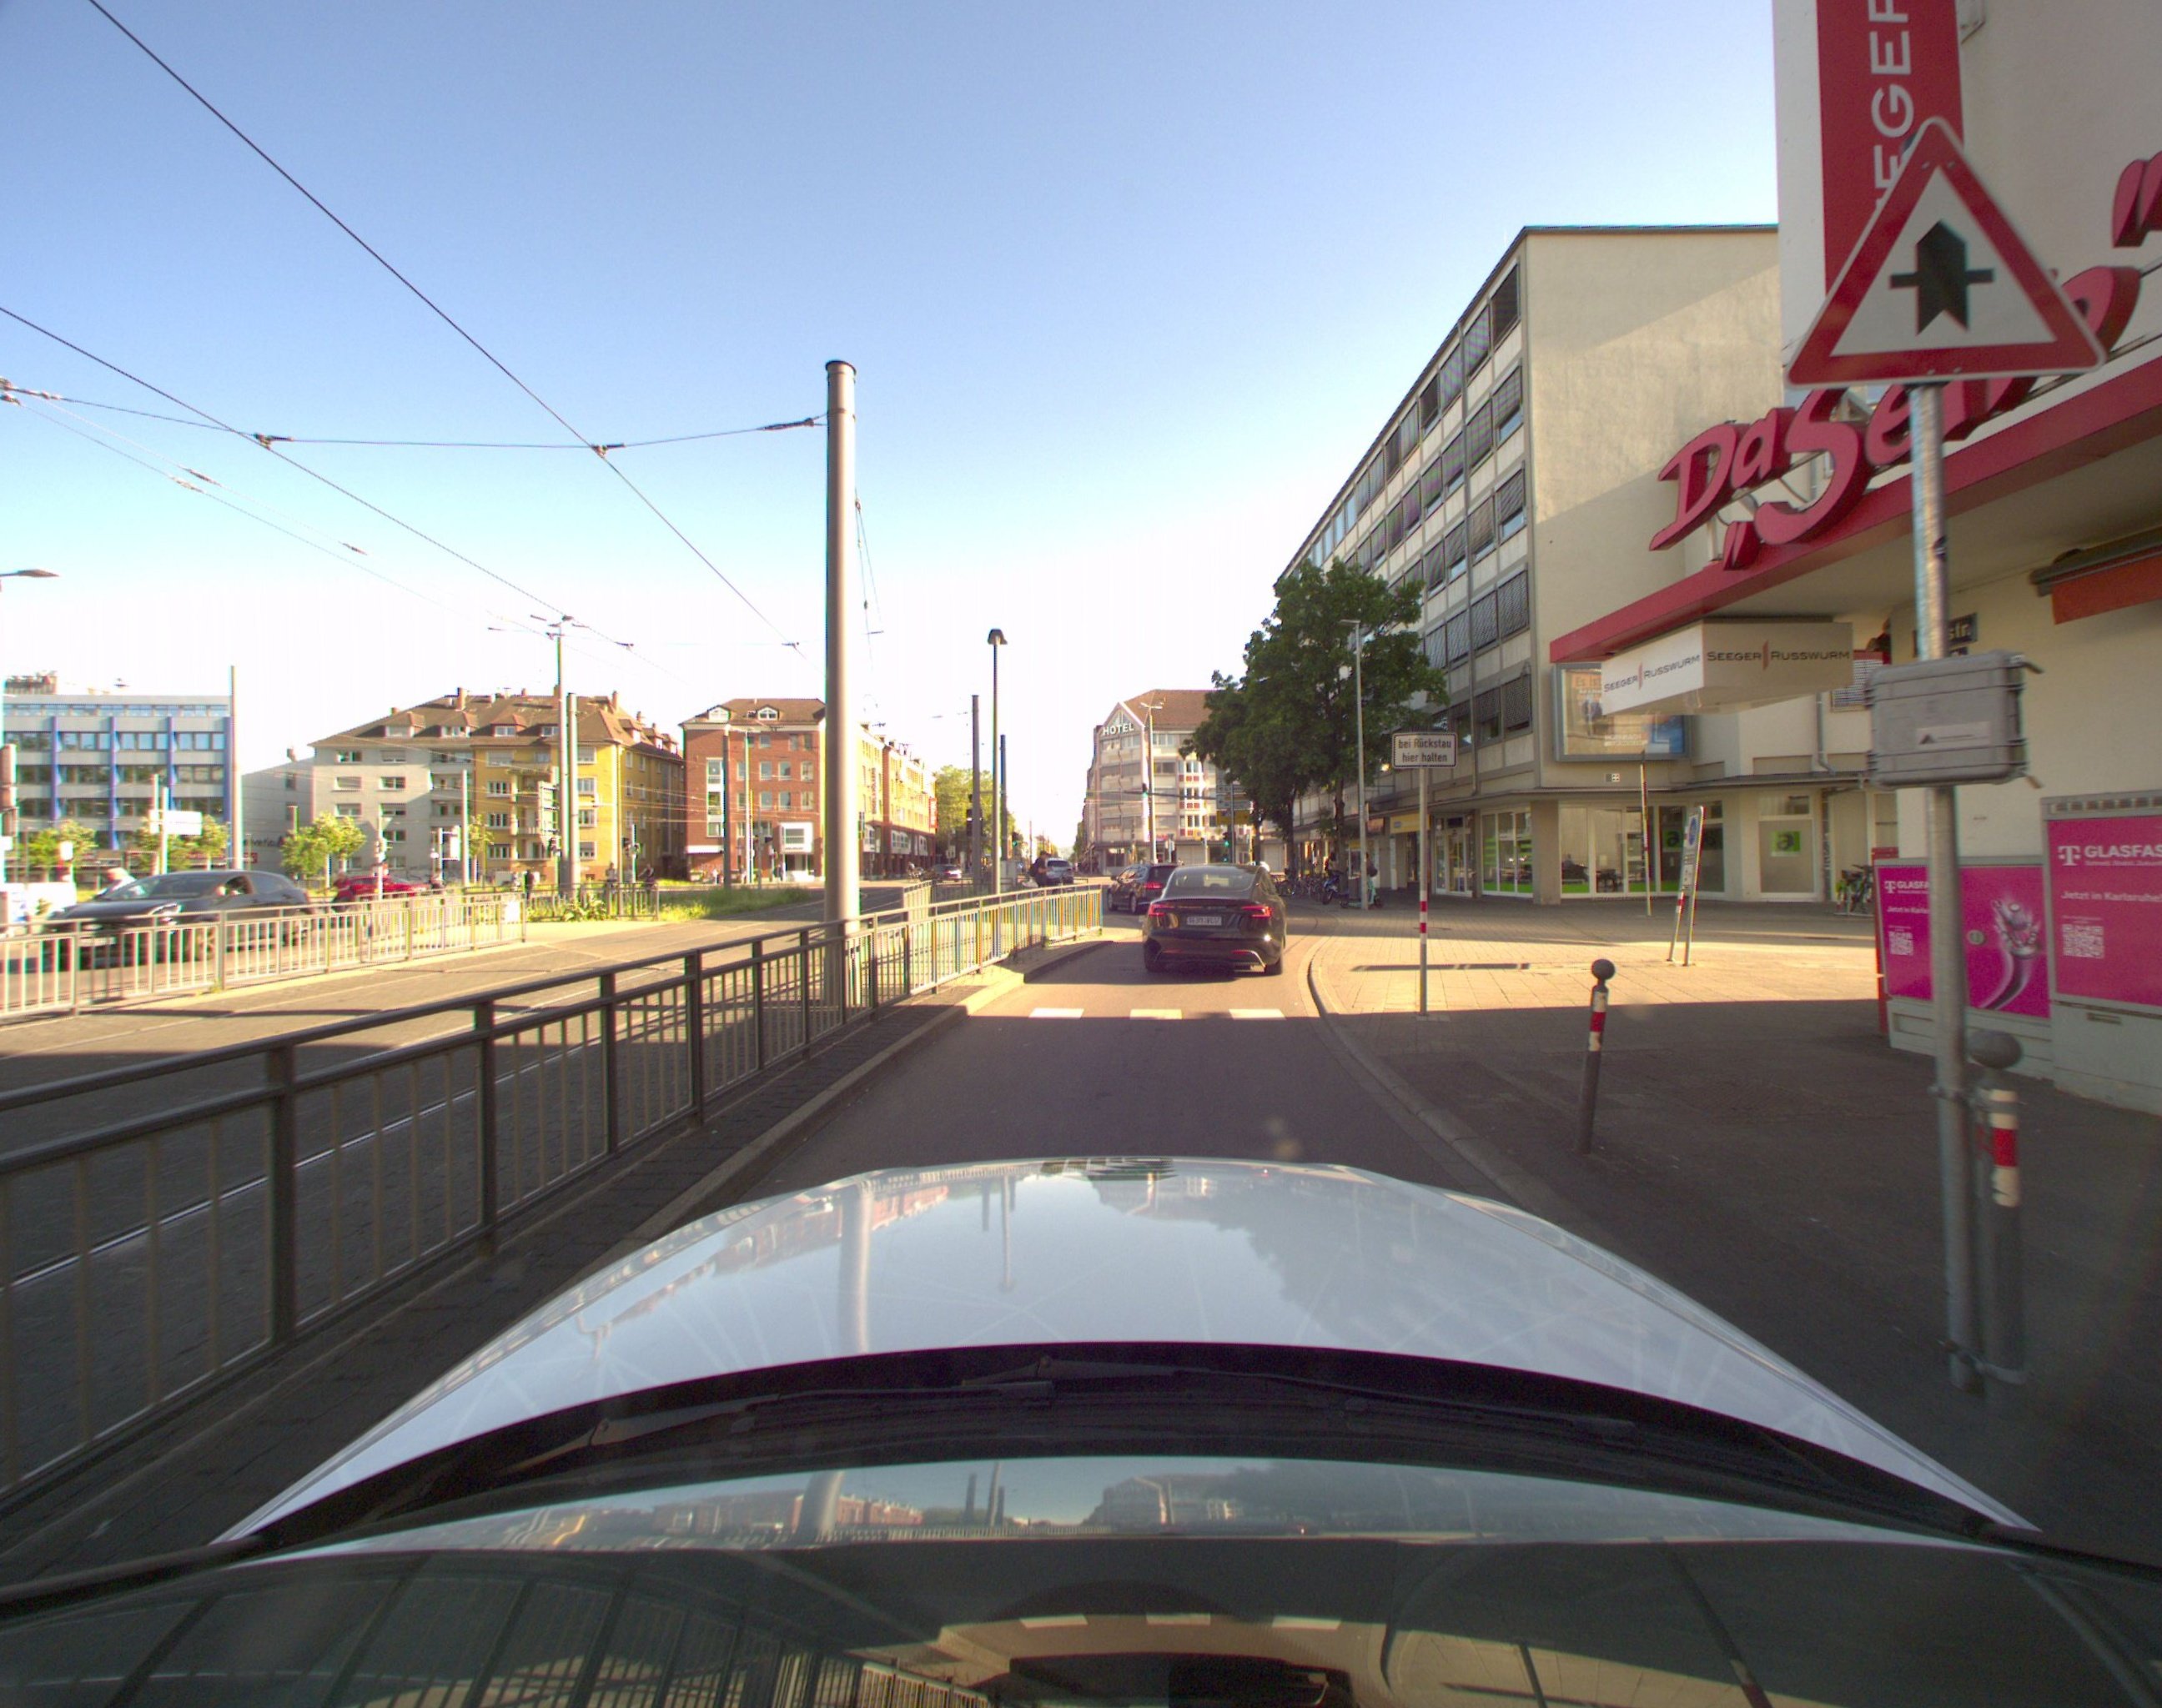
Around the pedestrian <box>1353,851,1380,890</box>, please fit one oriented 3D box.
[{"bbox_3d":[11.988,0.706,34.240,0.840,1.602,0.880,0,-1,1],"label":"pedestrian"}]

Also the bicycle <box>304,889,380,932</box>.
[{"bbox_3d":[-22.642,1.708,25.006,0.527,1.214,1.886,0,-1,3],"label":"bicycle"}]

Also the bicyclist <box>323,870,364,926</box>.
[{"bbox_3d":[-22.641,1.346,25.010,0.518,1.673,0.771,0,-1,3],"label":"bicyclist"}]

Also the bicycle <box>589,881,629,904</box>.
[{"bbox_3d":[-22.024,1.806,38.055,0.647,1.013,1.886,0,-1,3],"label":"bicycle"}]

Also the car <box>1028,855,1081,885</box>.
[{"bbox_3d":[-1.574,0.927,47.439,1.848,1.635,3.457,0,-1,-25],"label":"car"}]

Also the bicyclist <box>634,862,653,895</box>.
[{"bbox_3d":[-21.803,1.209,40.588,0.588,1.649,0.804,0,-1,-7],"label":"bicyclist"}]

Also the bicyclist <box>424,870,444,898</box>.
[{"bbox_3d":[-34.942,1.611,44.011,0.615,1.493,0.607,0,-1,-13],"label":"bicyclist"}]

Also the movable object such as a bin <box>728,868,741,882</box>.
[{"bbox_3d":[-36.588,2.211,86.025,0.995,1.437,1.093,0,-1,-8],"label":"movable object such as a bin"}]

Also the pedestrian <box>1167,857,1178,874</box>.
[{"bbox_3d":[8.558,1.054,76.385,0.780,1.576,0.863,0,0,-14],"label":"pedestrian"}]

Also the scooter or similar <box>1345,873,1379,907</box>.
[{"bbox_3d":[8.722,1.113,25.288,0.952,1.039,0.160,-1,-1,4],"label":"scooter or similar"}]

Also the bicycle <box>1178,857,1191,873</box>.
[{"bbox_3d":[9.765,1.057,76.773,0.583,1.463,1.678,-1,-1,-14],"label":"bicycle"}]

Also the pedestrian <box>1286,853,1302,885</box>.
[{"bbox_3d":[11.604,0.810,44.341,0.837,1.721,0.883,-1,-1,14],"label":"pedestrian"}]

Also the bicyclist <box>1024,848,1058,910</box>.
[{"bbox_3d":[-1.026,0.627,20.633,0.684,1.523,0.630,0,-1,-23],"label":"bicyclist"}]

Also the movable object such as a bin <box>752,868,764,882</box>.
[{"bbox_3d":[-34.228,2.223,86.282,0.995,1.437,1.093,0,-1,-8],"label":"movable object such as a bin"}]

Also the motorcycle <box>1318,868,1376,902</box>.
[{"bbox_3d":[8.974,1.052,27.471,1.782,1.130,0.504,0,-1,-1],"label":"motorcycle"}]

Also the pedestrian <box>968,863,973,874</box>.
[{"bbox_3d":[-14.581,1.934,107.891,0.584,1.531,0.634,0,-1,-16],"label":"pedestrian"}]

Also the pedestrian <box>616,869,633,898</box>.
[{"bbox_3d":[-26.592,1.709,47.460,0.624,1.688,0.703,0,1,-11],"label":"pedestrian"}]

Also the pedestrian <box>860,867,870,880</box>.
[{"bbox_3d":[-27.572,2.499,103.950,0.876,1.568,0.868,-1,-1,23],"label":"pedestrian"}]

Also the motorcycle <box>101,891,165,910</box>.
[{"bbox_3d":[-52.100,2.528,44.789,2.355,0.984,0.789,0,-1,-6],"label":"motorcycle"}]

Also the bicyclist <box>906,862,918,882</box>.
[{"bbox_3d":[-15.367,1.614,74.017,0.820,1.772,0.618,-1,-2,30],"label":"bicyclist"}]

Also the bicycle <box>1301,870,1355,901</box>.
[{"bbox_3d":[8.917,1.128,29.408,1.850,1.056,0.398,-2,-1,-10],"label":"bicycle"}]

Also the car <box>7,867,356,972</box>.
[{"bbox_3d":[-15.475,1.027,14.427,1.681,1.560,4.117,0,-1,-3],"label":"car"}]

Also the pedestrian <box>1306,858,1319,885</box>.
[{"bbox_3d":[12.426,0.928,43.785,0.640,1.422,0.623,-1,-1,13],"label":"pedestrian"}]

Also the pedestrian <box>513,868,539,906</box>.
[{"bbox_3d":[-28.437,1.673,41.710,0.719,1.934,0.799,-1,-1,6],"label":"pedestrian"}]

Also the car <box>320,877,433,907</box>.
[{"bbox_3d":[-39.978,2.137,46.312,4.548,1.509,1.777,-2,-1,-9],"label":"car"}]

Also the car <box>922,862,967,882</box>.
[{"bbox_3d":[-10.913,1.413,64.930,3.429,1.551,1.741,-1,-1,40],"label":"car"}]

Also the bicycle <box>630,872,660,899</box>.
[{"bbox_3d":[-21.809,1.559,40.744,0.572,1.291,2.023,0,-1,-5],"label":"bicycle"}]

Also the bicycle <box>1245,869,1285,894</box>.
[{"bbox_3d":[9.179,1.350,40.646,1.882,1.156,0.480,-2,-1,1],"label":"bicycle"}]

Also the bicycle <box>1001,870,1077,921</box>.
[{"bbox_3d":[-1.061,1.031,20.610,1.828,1.212,0.637,0,-1,-23],"label":"bicycle"}]

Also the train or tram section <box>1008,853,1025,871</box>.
[{"bbox_3d":[-12.959,1.582,165.080,2.721,3.542,10.082,0,-1,0],"label":"train or tram section"}]

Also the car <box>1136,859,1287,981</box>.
[{"bbox_3d":[2.072,0.817,11.984,1.777,1.451,3.955,0,0,15],"label":"car"}]

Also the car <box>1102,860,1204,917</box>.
[{"bbox_3d":[1.958,0.908,23.471,1.765,1.444,4.512,0,0,-11],"label":"car"}]

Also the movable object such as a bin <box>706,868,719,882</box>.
[{"bbox_3d":[-38.873,2.217,85.899,0.995,1.437,1.093,0,-1,-8],"label":"movable object such as a bin"}]

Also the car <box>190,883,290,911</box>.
[{"bbox_3d":[-46.877,2.372,45.454,3.695,1.472,1.572,0,-1,-6],"label":"car"}]

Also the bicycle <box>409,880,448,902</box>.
[{"bbox_3d":[-35.186,1.997,43.954,1.497,1.133,0.609,0,-1,-13],"label":"bicycle"}]

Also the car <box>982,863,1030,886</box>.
[{"bbox_3d":[-5.377,1.450,57.797,1.585,1.618,3.740,1,-1,-39],"label":"car"}]

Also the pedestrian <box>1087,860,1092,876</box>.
[{"bbox_3d":[0.979,1.590,93.170,0.624,1.782,0.917,0,-1,-1],"label":"pedestrian"}]

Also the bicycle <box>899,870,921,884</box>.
[{"bbox_3d":[-15.555,2.097,74.109,2.014,1.223,0.632,-1,-1,30],"label":"bicycle"}]

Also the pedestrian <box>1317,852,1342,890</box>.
[{"bbox_3d":[11.083,0.758,36.308,0.840,1.707,0.880,0,-1,1],"label":"pedestrian"}]

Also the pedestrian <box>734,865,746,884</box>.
[{"bbox_3d":[-30.155,1.803,72.002,0.694,1.710,0.928,0,-1,-5],"label":"pedestrian"}]

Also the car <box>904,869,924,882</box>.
[{"bbox_3d":[-21.029,2.694,102.654,1.813,1.454,3.972,-2,-1,-4],"label":"car"}]

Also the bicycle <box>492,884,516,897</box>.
[{"bbox_3d":[-35.536,2.254,50.160,1.174,0.764,0.318,0,-1,-15],"label":"bicycle"}]

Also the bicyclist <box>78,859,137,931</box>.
[{"bbox_3d":[-23.453,0.972,19.629,0.516,1.673,0.775,-1,-1,25],"label":"bicyclist"}]

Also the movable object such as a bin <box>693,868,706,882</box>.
[{"bbox_3d":[-40.122,2.244,85.671,0.995,1.437,1.093,0,-1,-8],"label":"movable object such as a bin"}]

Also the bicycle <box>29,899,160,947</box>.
[{"bbox_3d":[-23.528,1.629,19.472,0.525,1.013,1.896,-1,-1,25],"label":"bicycle"}]

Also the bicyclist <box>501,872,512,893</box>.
[{"bbox_3d":[-35.426,1.751,50.207,0.459,1.316,0.398,0,-1,-15],"label":"bicyclist"}]

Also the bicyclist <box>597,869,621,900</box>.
[{"bbox_3d":[-22.041,1.417,38.018,0.661,1.454,0.731,0,-1,2],"label":"bicyclist"}]

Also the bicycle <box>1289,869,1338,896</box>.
[{"bbox_3d":[8.992,1.101,31.523,1.758,1.057,0.459,-1,-1,6],"label":"bicycle"}]

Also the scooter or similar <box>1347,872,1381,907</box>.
[{"bbox_3d":[8.708,1.097,25.091,0.959,1.043,0.160,-1,-1,4],"label":"scooter or similar"}]

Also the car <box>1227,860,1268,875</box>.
[{"bbox_3d":[17.257,1.386,84.493,3.833,1.432,1.800,-1,-3,-4],"label":"car"}]

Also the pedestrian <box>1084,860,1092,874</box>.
[{"bbox_3d":[0.900,1.669,104.233,0.911,1.755,0.839,0,-1,0],"label":"pedestrian"}]

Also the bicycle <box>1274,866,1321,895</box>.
[{"bbox_3d":[8.900,1.079,33.515,1.805,1.151,0.435,-1,-1,-3],"label":"bicycle"}]
